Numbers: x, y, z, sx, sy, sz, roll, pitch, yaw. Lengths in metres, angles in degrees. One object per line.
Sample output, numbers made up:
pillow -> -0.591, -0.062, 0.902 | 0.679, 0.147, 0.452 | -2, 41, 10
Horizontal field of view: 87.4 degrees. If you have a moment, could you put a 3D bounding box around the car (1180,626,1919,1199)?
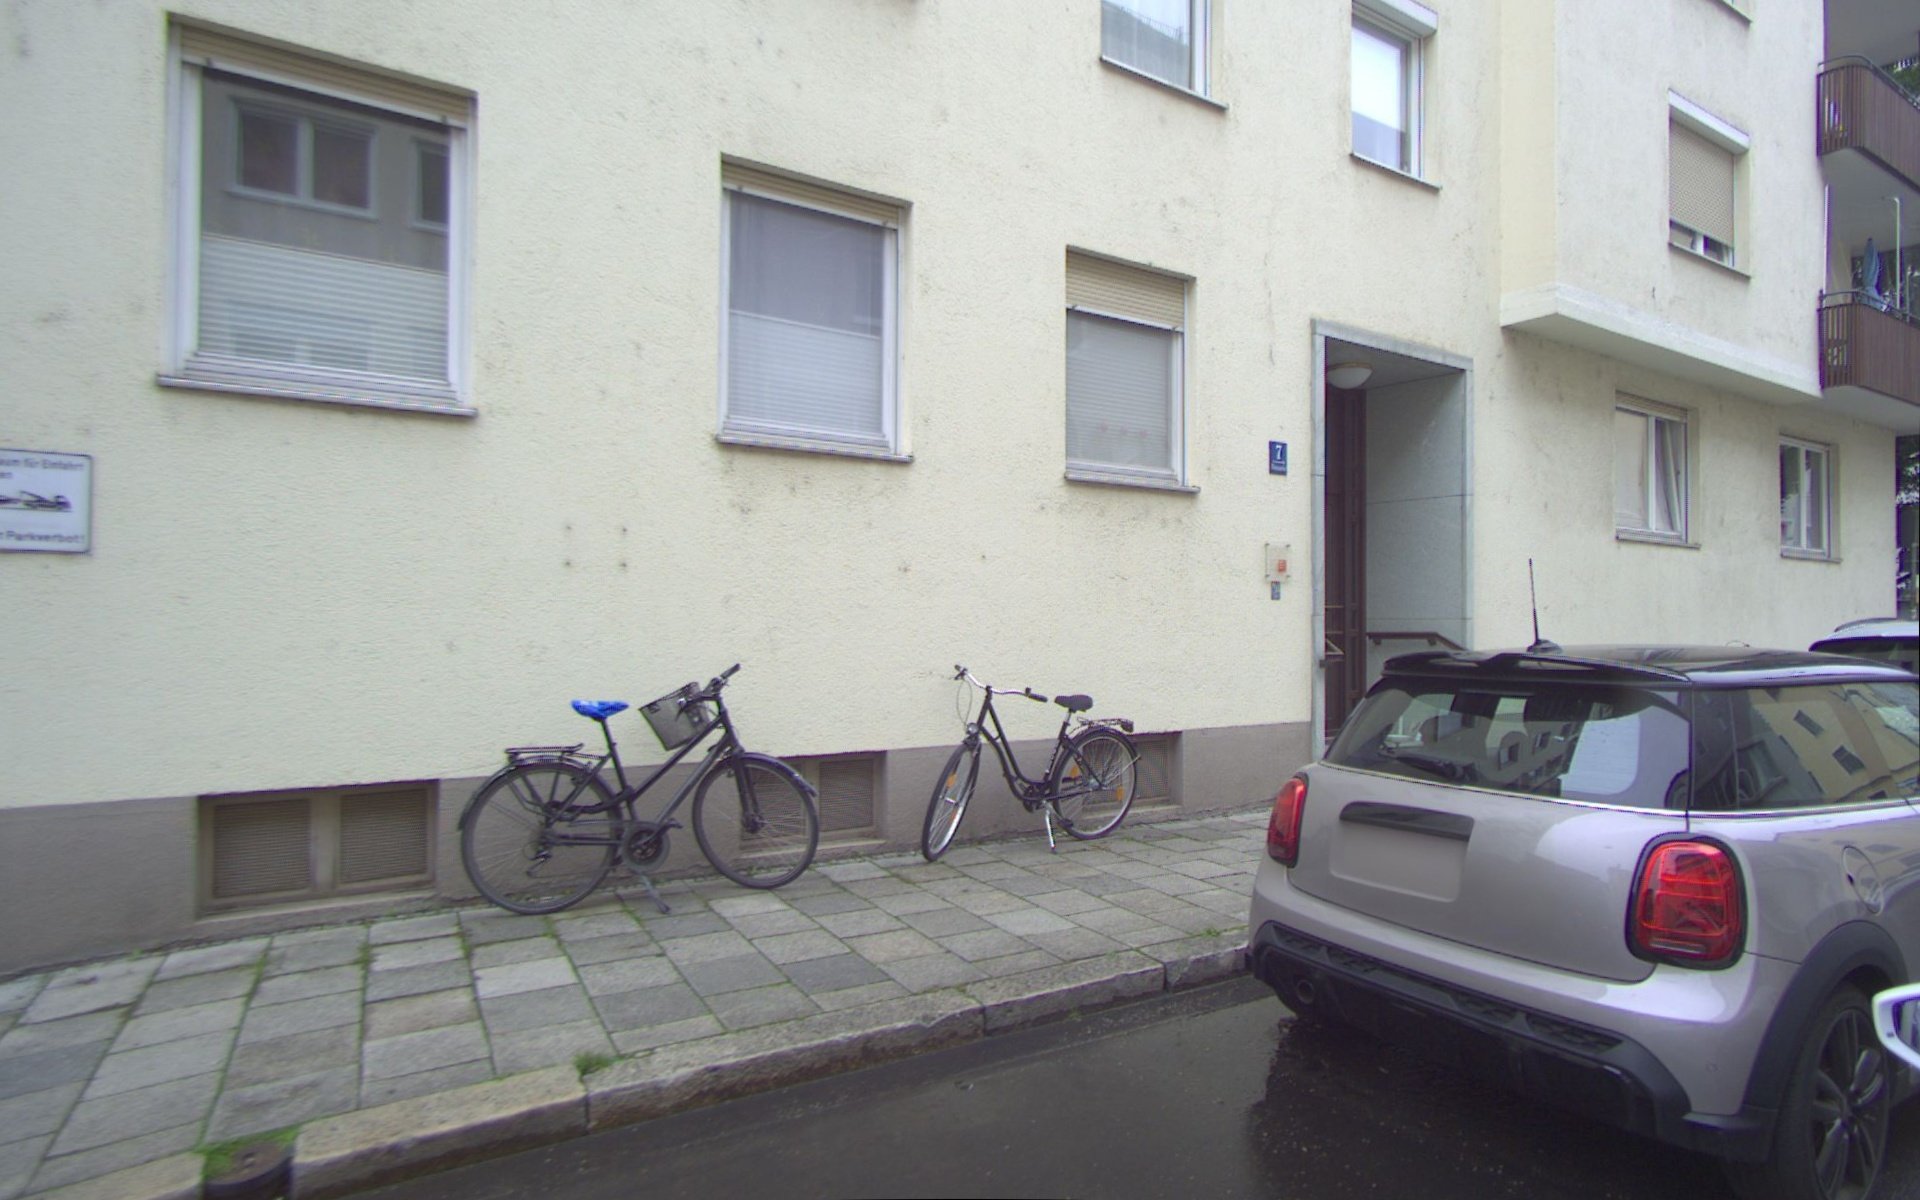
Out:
car -> 2.784, 0.860, 3.738 | 3.758, 1.454, 1.644 | 2, -3, -31

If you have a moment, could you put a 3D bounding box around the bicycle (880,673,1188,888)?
bicycle -> 0.480, 1.005, 6.081 | 1.794, 1.041, 0.725 | 1, 0, -33

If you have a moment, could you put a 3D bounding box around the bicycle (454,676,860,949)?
bicycle -> -1.448, 0.934, 4.905 | 1.792, 1.041, 0.692 | 1, 0, -30

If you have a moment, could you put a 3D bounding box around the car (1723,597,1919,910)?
car -> 7.031, 0.891, 6.616 | 4.318, 1.697, 1.757 | 2, -3, -32

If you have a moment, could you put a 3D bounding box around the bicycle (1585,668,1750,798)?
bicycle -> 7.072, 1.282, 10.022 | 1.768, 1.176, 0.642 | 2, -3, -30

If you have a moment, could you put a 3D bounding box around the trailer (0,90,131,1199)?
trailer -> -2.549, 0.416, 0.257 | 3.270, 2.144, 1.352 | 2, -1, -23
